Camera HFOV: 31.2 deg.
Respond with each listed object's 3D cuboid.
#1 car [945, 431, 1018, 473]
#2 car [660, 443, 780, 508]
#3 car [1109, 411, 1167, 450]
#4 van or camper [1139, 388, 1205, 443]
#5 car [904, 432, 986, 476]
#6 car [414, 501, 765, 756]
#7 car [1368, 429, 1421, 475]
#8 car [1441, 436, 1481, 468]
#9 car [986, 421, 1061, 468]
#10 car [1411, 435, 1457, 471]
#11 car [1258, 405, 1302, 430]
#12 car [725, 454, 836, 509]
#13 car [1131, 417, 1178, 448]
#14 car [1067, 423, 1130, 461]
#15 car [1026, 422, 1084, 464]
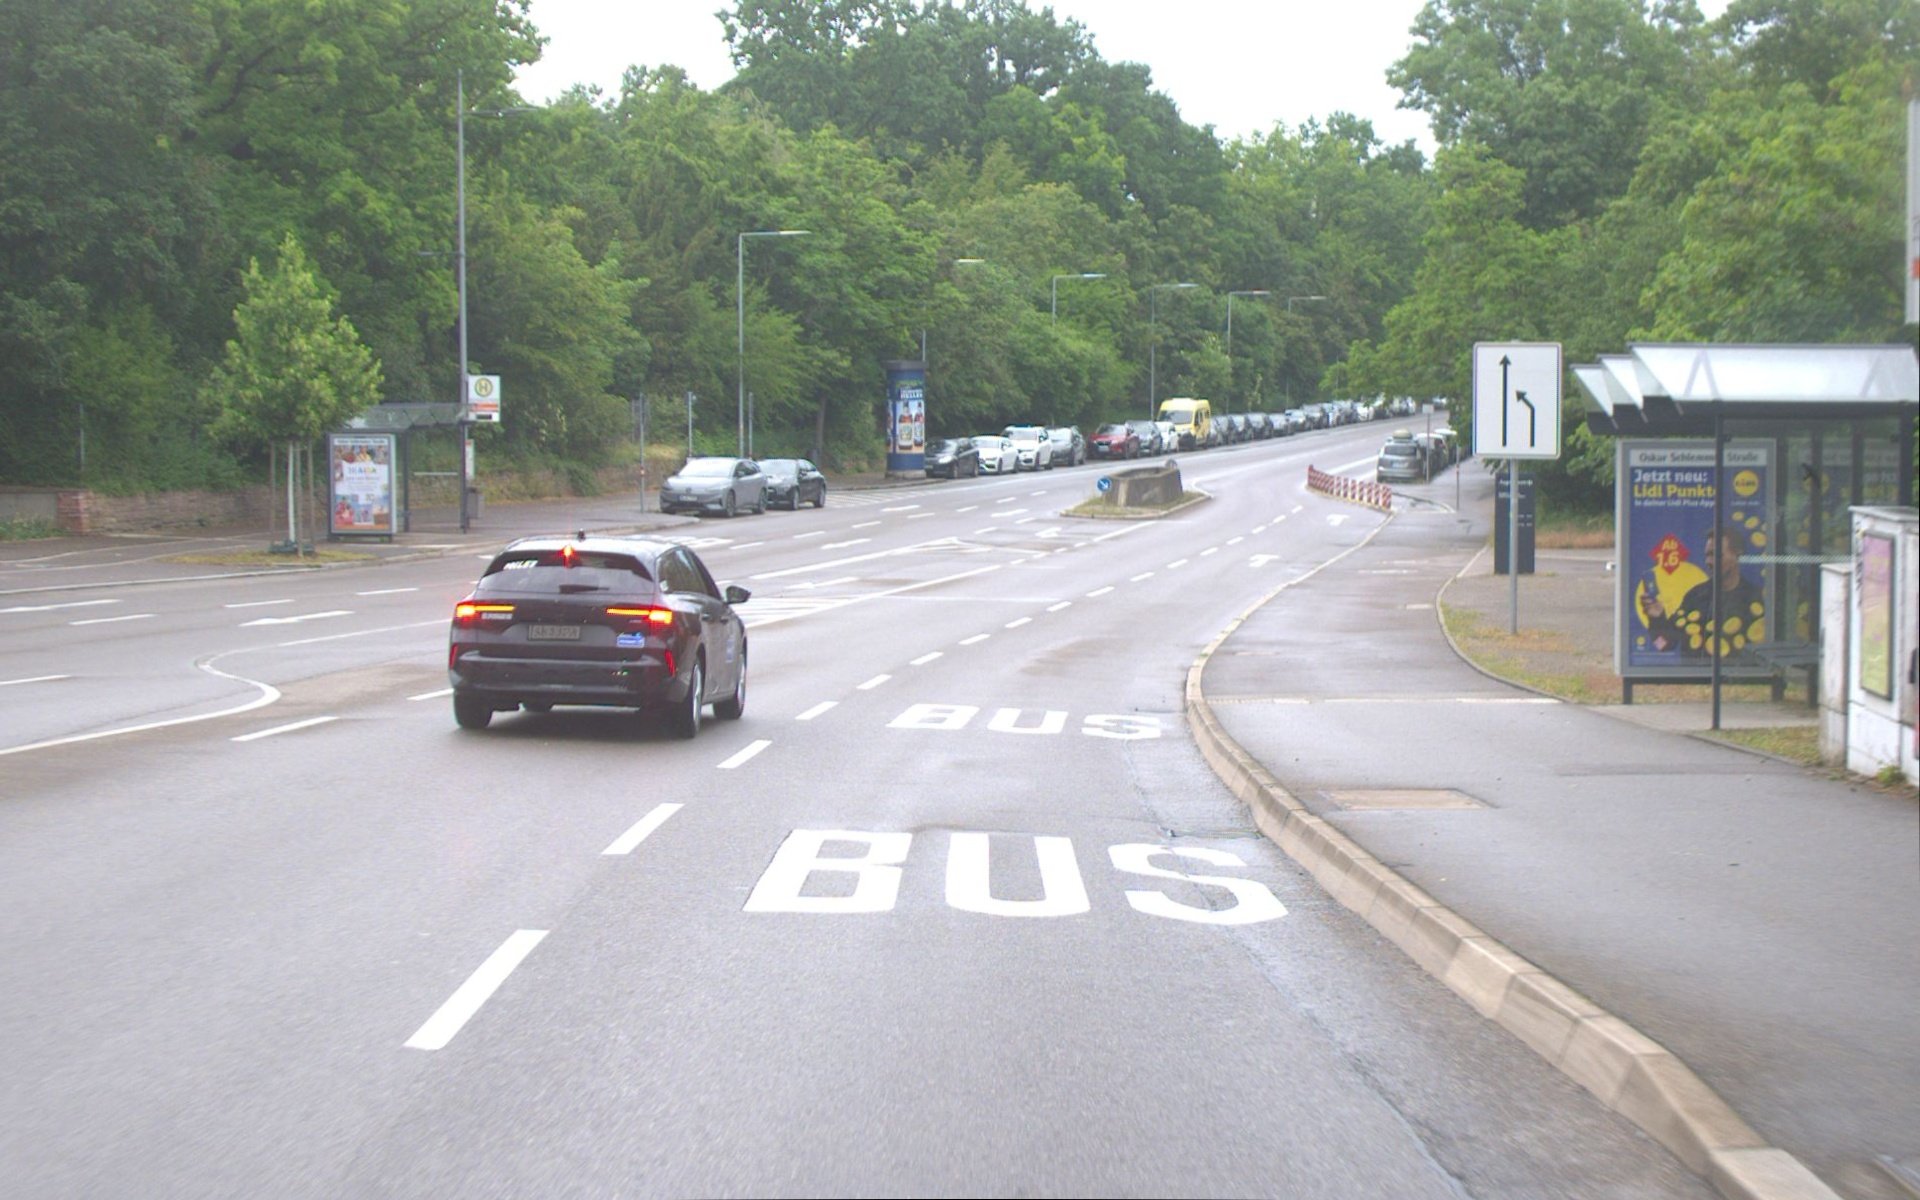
[{"bbox_3d":[0.857,-5.671,131.299,1.719,1.455,4.706,2,4,14],"label":"car"},{"bbox_3d":[-6.419,-3.369,92.503,1.842,1.583,4.926,4,3,13],"label":"car"},{"bbox_3d":[8.412,-7.996,162.212,1.995,1.694,4.614,2,4,12],"label":"car"},{"bbox_3d":[10.592,-9.218,171.383,2.145,2.618,5.679,2,4,14],"label":"van or camper"},{"bbox_3d":[-0.523,-5.379,126.345,1.750,1.440,4.584,3,4,16],"label":"car"},{"bbox_3d":[-2.693,0.138,25.876,1.881,1.460,4.001,4,5,4],"label":"car"},{"bbox_3d":[16.716,-5.698,132.117,1.823,1.609,4.251,3,4,9],"label":"car"},{"bbox_3d":[25.426,-7.510,174.311,1.823,1.480,4.198,0,1,11],"label":"car"},{"bbox_3d":[2.572,-6.275,138.315,1.995,1.759,4.958,3,4,13],"label":"car"},{"bbox_3d":[21.981,-6.813,159.356,1.660,1.459,3.898,5,5,13],"label":"car"},{"bbox_3d":[18.406,-10.523,197.633,1.871,1.299,4.468,3,4,13],"label":"car"},{"bbox_3d":[-5.128,-3.416,98.876,1.907,1.409,4.781,4,3,13],"label":"car"},{"bbox_3d":[9.440,-8.125,166.542,1.618,1.443,3.655,1,4,14],"label":"car"},{"bbox_3d":[6.285,-7.165,155.713,1.920,1.611,4.488,2,4,14],"label":"car"},{"bbox_3d":[4.041,-6.693,146.100,1.732,1.643,4.570,3,4,10],"label":"car"}]
